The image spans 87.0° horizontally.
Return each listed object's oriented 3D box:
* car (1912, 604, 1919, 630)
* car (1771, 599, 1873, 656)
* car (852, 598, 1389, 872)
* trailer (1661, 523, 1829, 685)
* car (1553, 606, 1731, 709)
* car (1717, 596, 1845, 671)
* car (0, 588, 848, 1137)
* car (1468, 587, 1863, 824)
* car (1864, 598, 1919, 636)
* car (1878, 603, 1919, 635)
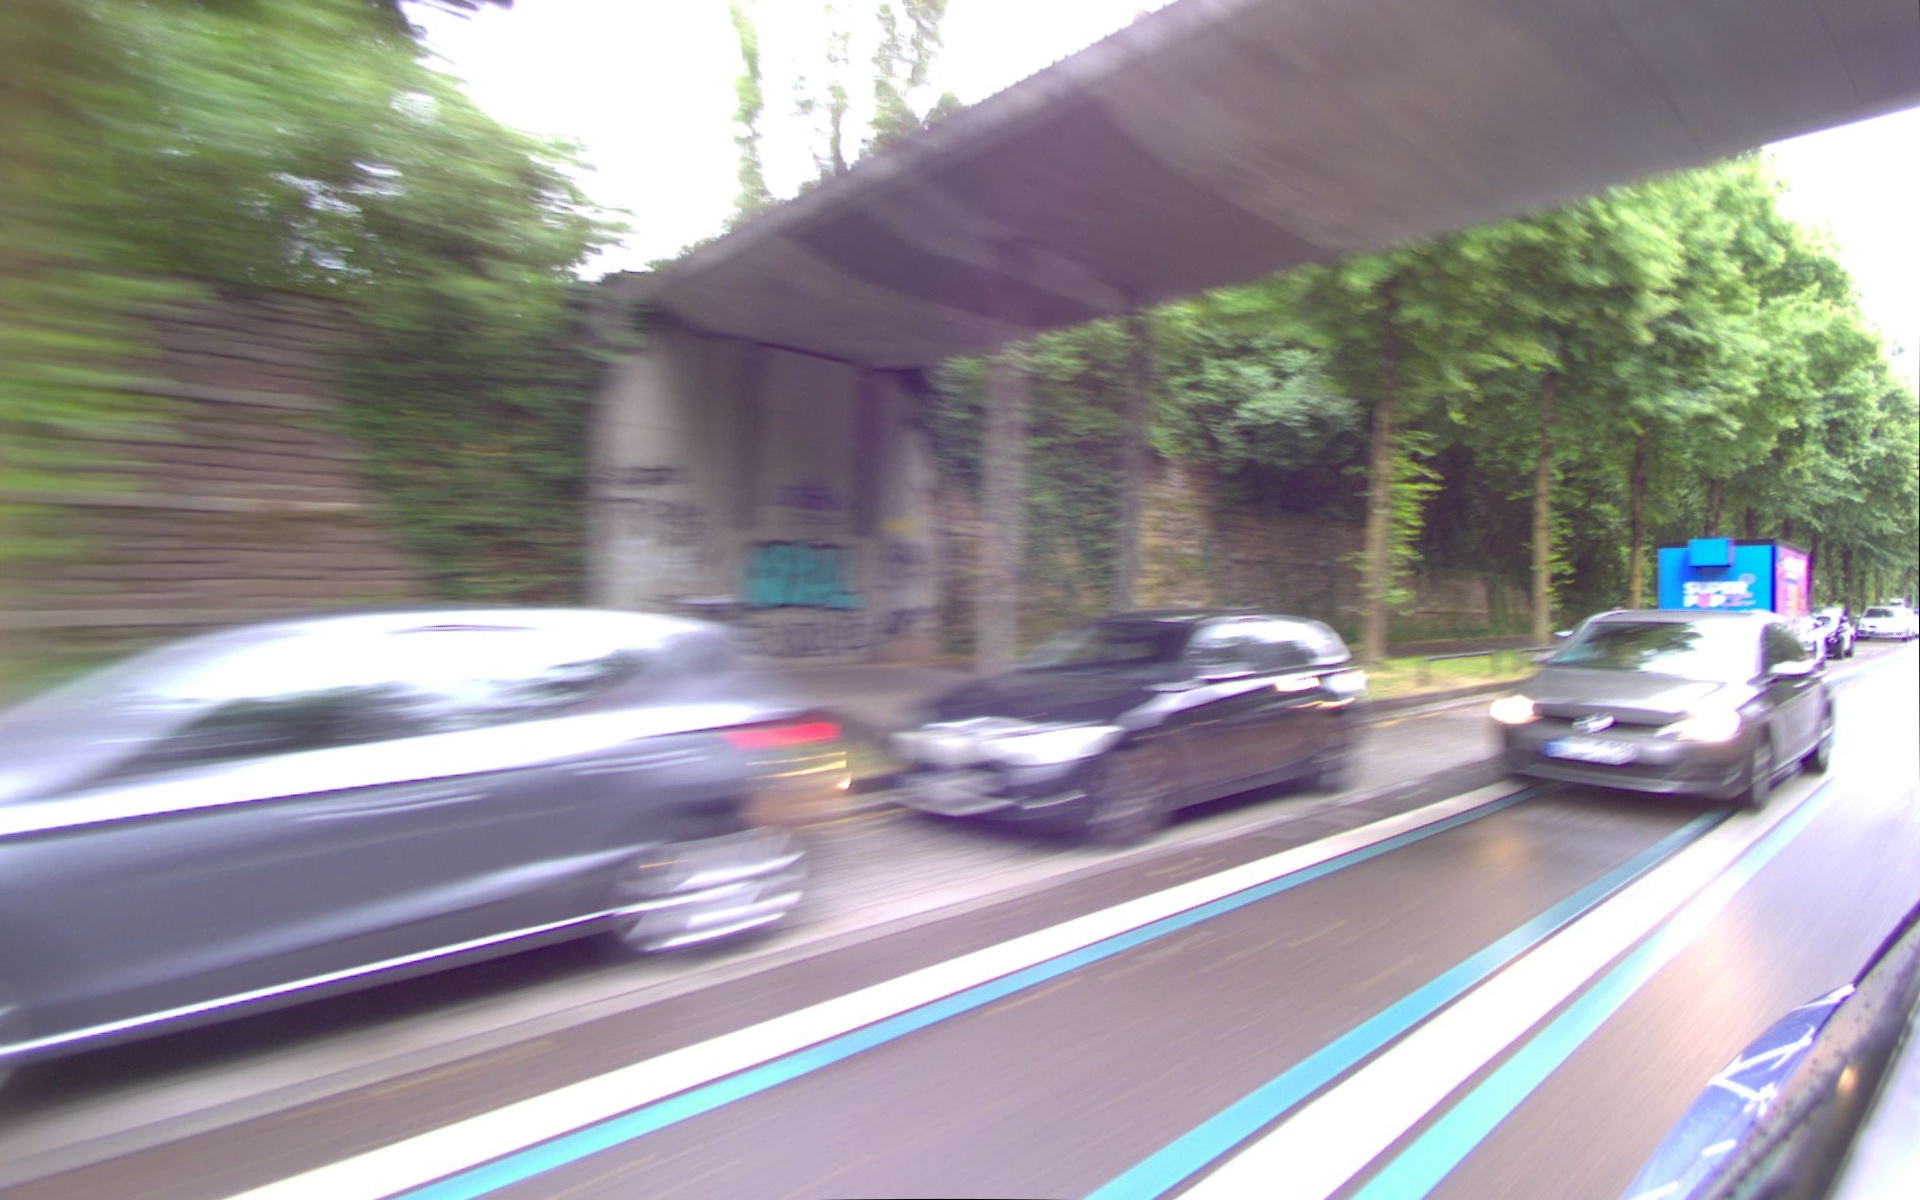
[{"bbox_3d":[56.057,0.980,58.258,4.030,1.472,1.699,0,0,-44],"label":"car"},{"bbox_3d":[25.821,0.771,30.268,4.494,1.522,1.827,0,1,-43],"label":"car"},{"bbox_3d":[1.376,0.722,7.412,4.125,1.434,1.688,0,1,-42],"label":"car"},{"bbox_3d":[15.212,0.061,19.536,3.939,2.793,1.955,0,0,-43],"label":"trailer"},{"bbox_3d":[10.481,0.777,15.444,1.584,1.370,3.800,0,0,45],"label":"car"},{"bbox_3d":[19.282,0.714,23.695,1.900,1.567,4.678,1,1,45],"label":"car"},{"bbox_3d":[-2.549,0.680,3.751,4.029,1.434,1.688,0,0,-42],"label":"car"},{"bbox_3d":[6.146,0.690,8.636,4.066,1.527,1.821,0,1,-41],"label":"car"},{"bbox_3d":[42.047,0.725,45.455,4.660,1.617,1.755,0,0,-43],"label":"car"},{"bbox_3d":[46.497,0.912,49.632,4.391,1.533,1.700,0,0,-41],"label":"car"}]
